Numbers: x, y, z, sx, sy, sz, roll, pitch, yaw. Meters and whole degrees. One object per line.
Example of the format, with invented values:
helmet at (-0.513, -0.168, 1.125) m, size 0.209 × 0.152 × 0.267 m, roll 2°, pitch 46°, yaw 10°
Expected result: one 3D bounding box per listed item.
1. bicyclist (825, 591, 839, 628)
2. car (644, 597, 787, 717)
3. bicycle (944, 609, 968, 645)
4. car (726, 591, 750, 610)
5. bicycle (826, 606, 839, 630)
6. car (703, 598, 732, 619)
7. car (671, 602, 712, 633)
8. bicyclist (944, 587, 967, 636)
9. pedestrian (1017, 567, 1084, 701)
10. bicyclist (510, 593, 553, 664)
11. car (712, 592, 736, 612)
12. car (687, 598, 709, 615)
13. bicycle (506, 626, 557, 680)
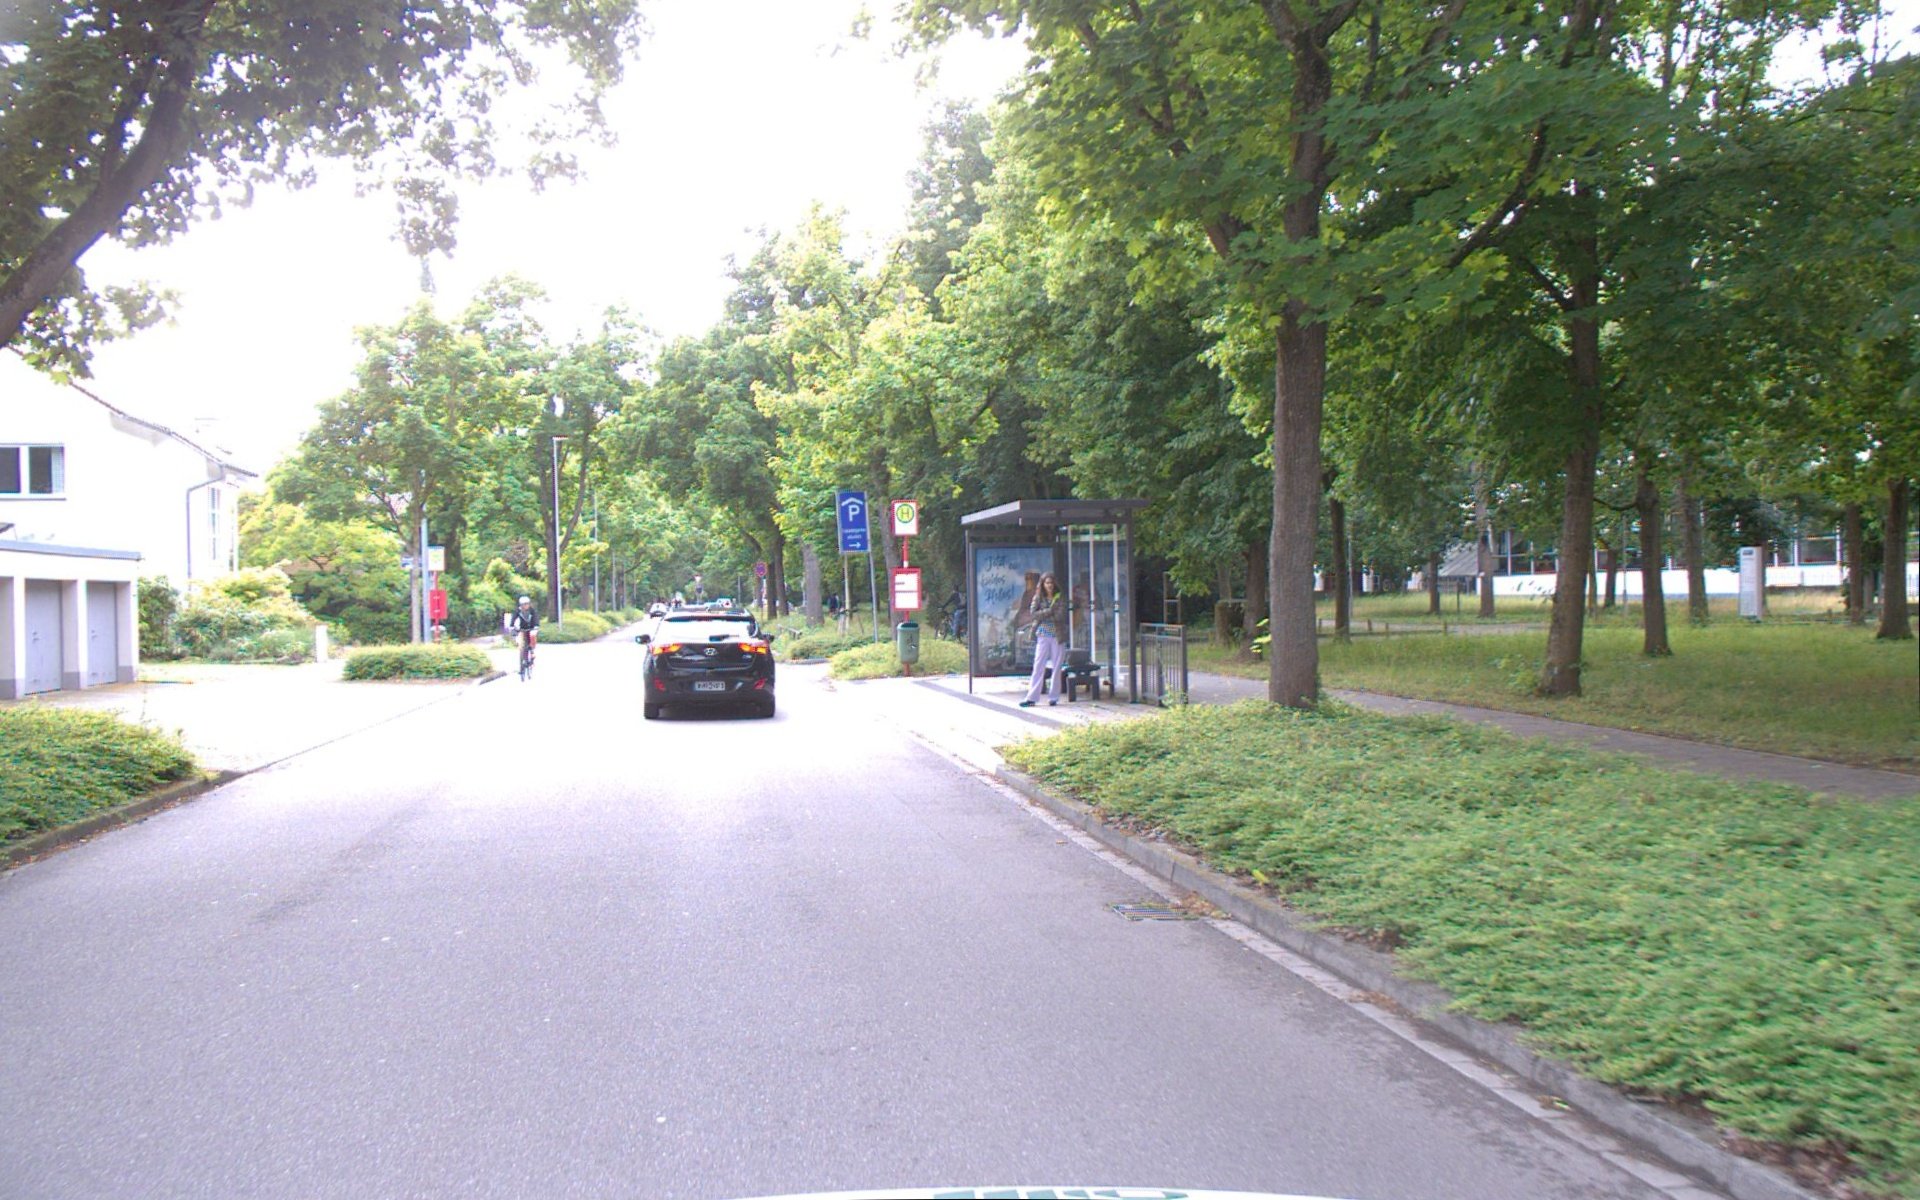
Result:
bicyclist at (-5.498, 0.396, 71.271) m, size 0.524 × 1.576 × 0.758 m, roll -2°, pitch 0°, yaw -3°
car at (-3.494, 0.733, 23.250) m, size 1.813 × 1.488 × 3.818 m, roll -1°, pitch 0°, yaw -11°
bicycle at (-0.123, 0.782, 48.962) m, size 0.595 × 0.992 × 1.943 m, roll -2°, pitch 0°, yaw -3°
car at (-24.728, 0.056, 184.030) m, size 1.961 × 2.049 × 3.982 m, roll -2°, pitch 0°, yaw -16°
bicycle at (-5.478, 0.762, 71.199) m, size 0.481 × 0.992 × 1.943 m, roll -2°, pitch 0°, yaw -3°
car at (-17.990, 0.616, 122.566) m, size 1.866 × 1.512 × 3.988 m, roll -1°, pitch 0°, yaw -12°
car at (-13.936, 0.891, 85.711) m, size 1.832 × 1.488 × 4.104 m, roll -2°, pitch 0°, yaw -12°
bicyclist at (-0.137, 0.331, 48.993) m, size 0.585 × 1.434 × 0.758 m, roll -2°, pitch 0°, yaw -3°
pedestrian at (1.124, 0.416, 20.571) m, size 0.642 × 1.611 × 0.696 m, roll -2°, pitch 0°, yaw -10°
bicyclist at (-9.295, 0.610, 35.930) m, size 0.770 × 1.495 × 0.935 m, roll -2°, pitch 0°, yaw -9°
car at (-25.489, 0.176, 178.773) m, size 1.962 × 2.049 × 3.981 m, roll -2°, pitch 0°, yaw -17°
car at (-24.882, 0.605, 156.916) m, size 1.957 × 1.512 × 3.991 m, roll -2°, pitch 0°, yaw -10°
bicycle at (-9.290, 1.127, 35.966) m, size 0.780 × 1.043 × 2.559 m, roll -2°, pitch 0°, yaw -9°
